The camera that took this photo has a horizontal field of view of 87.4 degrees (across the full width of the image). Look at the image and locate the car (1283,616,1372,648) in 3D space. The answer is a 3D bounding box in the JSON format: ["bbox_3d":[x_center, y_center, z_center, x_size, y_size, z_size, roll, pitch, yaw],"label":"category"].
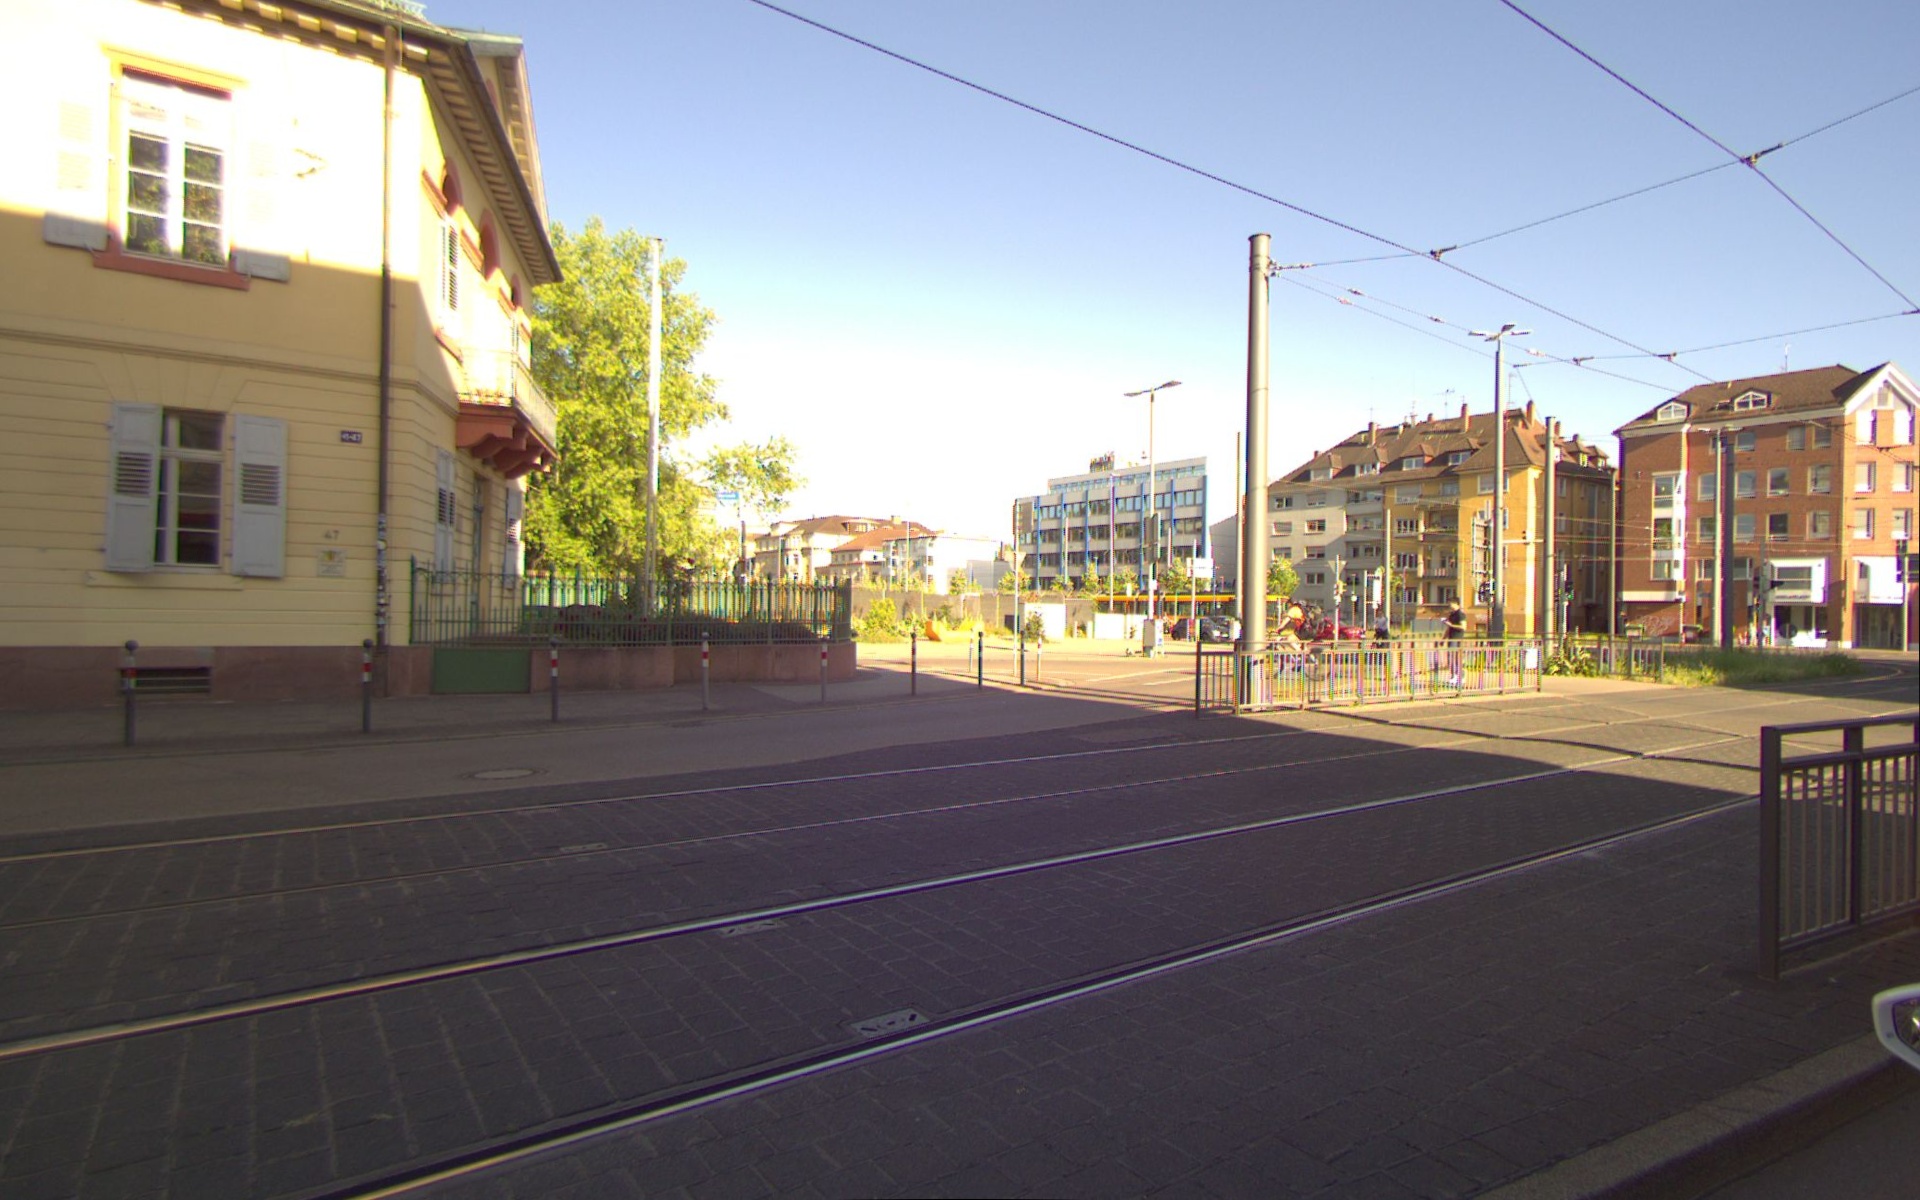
[{"bbox_3d":[21.871,1.887,59.898,1.984,1.723,4.545,2,0,-41],"label":"car"}]

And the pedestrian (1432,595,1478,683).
[{"bbox_3d":[9.908,0.770,20.114,0.584,1.703,0.769,2,0,44],"label":"pedestrian"}]

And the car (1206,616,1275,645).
[{"bbox_3d":[18.005,1.944,64.581,1.762,1.694,3.955,2,0,-39],"label":"car"}]

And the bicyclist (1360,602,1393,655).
[{"bbox_3d":[14.303,0.987,34.495,0.747,1.783,0.750,2,0,-40],"label":"bicyclist"}]

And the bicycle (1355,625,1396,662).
[{"bbox_3d":[14.252,1.497,34.453,1.839,1.238,0.480,2,0,-40],"label":"bicycle"}]

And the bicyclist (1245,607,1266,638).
[{"bbox_3d":[18.010,1.379,61.214,0.785,1.832,0.892,2,0,-43],"label":"bicyclist"}]

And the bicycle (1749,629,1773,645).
[{"bbox_3d":[50.362,2.342,63.138,1.669,0.994,0.403,2,0,-22],"label":"bicycle"}]

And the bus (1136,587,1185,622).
[{"bbox_3d":[18.526,0.420,92.950,2.746,3.172,3.490,2,0,-37],"label":"bus"}]

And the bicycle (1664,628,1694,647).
[{"bbox_3d":[39.655,2.064,55.399,2.220,0.984,0.444,2,0,-31],"label":"bicycle"}]

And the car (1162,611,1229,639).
[{"bbox_3d":[14.387,1.505,61.491,1.631,1.546,3.821,2,0,-39],"label":"car"}]

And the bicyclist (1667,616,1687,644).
[{"bbox_3d":[39.486,1.642,55.287,0.688,1.523,0.630,2,0,-30],"label":"bicyclist"}]

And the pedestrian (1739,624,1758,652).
[{"bbox_3d":[54.402,2.626,69.318,0.737,1.845,0.781,2,0,-28],"label":"pedestrian"}]

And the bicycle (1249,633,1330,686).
[{"bbox_3d":[6.974,1.242,21.279,1.579,1.007,0.401,2,0,42],"label":"bicycle"}]

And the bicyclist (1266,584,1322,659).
[{"bbox_3d":[7.053,0.451,21.218,1.028,1.542,0.390,2,0,41],"label":"bicyclist"}]

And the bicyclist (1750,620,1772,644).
[{"bbox_3d":[50.355,1.993,63.175,0.958,1.490,0.702,1,0,-22],"label":"bicyclist"}]

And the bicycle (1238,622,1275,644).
[{"bbox_3d":[18.038,1.996,61.192,0.542,1.230,2.168,2,0,-41],"label":"bicycle"}]

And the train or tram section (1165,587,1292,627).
[{"bbox_3d":[23.076,0.527,87.214,2.781,3.172,11.141,2,0,-39],"label":"train or tram section"}]

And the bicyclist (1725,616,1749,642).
[{"bbox_3d":[45.538,1.694,58.845,0.688,1.523,0.894,2,0,-30],"label":"bicyclist"}]

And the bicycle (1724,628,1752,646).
[{"bbox_3d":[45.584,2.172,58.860,2.220,0.984,0.521,2,0,-31],"label":"bicycle"}]

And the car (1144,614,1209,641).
[{"bbox_3d":[14.746,1.874,68.572,1.895,1.708,3.916,2,0,-41],"label":"car"}]

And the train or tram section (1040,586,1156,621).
[{"bbox_3d":[13.433,0.302,99.826,2.709,3.172,13.571,2,0,-37],"label":"train or tram section"}]
